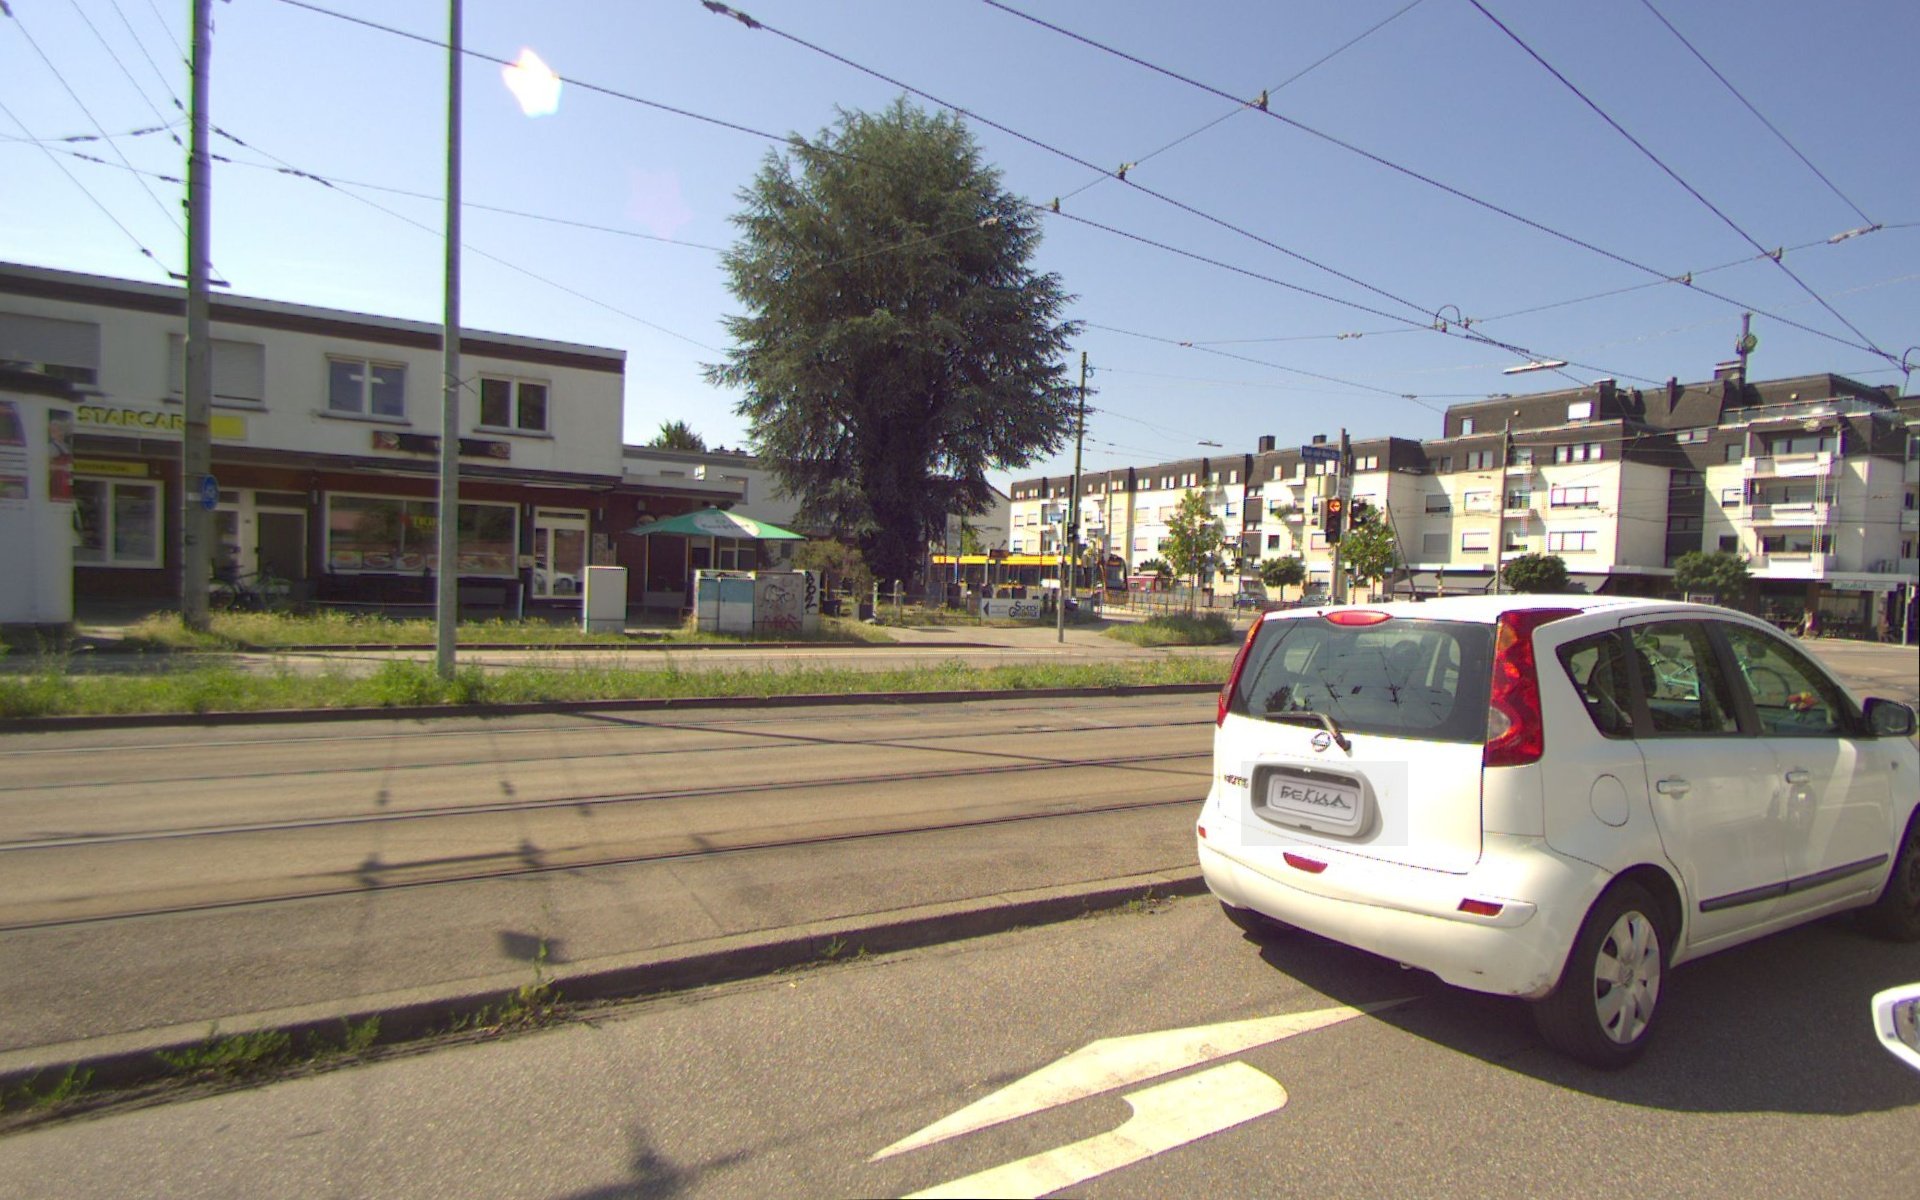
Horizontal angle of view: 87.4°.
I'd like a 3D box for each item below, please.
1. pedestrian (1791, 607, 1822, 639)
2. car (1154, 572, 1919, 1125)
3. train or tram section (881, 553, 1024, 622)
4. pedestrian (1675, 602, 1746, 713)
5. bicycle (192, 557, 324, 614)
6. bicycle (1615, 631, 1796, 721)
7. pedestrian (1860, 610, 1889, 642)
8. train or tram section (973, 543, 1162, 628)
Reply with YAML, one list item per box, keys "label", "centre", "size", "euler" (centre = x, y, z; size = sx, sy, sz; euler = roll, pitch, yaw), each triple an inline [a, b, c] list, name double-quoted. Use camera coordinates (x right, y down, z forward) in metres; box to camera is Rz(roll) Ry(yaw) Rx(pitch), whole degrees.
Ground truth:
- label: "pedestrian"
  centre: [46.975, 1.283, 55.762]
  size: [0.955, 1.766, 0.865]
  euler: [2, -1, 8]
- label: "car"
  centre: [2.855, 0.722, 4.551]
  size: [3.759, 1.587, 1.634]
  euler: [0, 0, -31]
- label: "train or tram section"
  centre: [-1.041, -0.933, 85.721]
  size: [4.681, 5.217, 16.122]
  euler: [2, -1, -30]
- label: "pedestrian"
  centre: [11.256, 0.839, 15.066]
  size: [0.671, 1.592, 0.738]
  euler: [1, 0, -45]
- label: "bicycle"
  centre: [-15.512, -0.294, 22.270]
  size: [2.306, 1.167, 0.783]
  euler: [2, -1, -30]
- label: "bicycle"
  centre: [10.836, 1.068, 14.658]
  size: [0.705, 1.105, 1.999]
  euler: [1, 2, -44]
- label: "pedestrian"
  centre: [50.899, 1.444, 55.925]
  size: [0.957, 1.766, 0.863]
  euler: [1, -1, 28]
- label: "train or tram section"
  centre: [7.121, -0.900, 71.806]
  size: [4.681, 5.217, 16.122]
  euler: [2, -1, -30]
